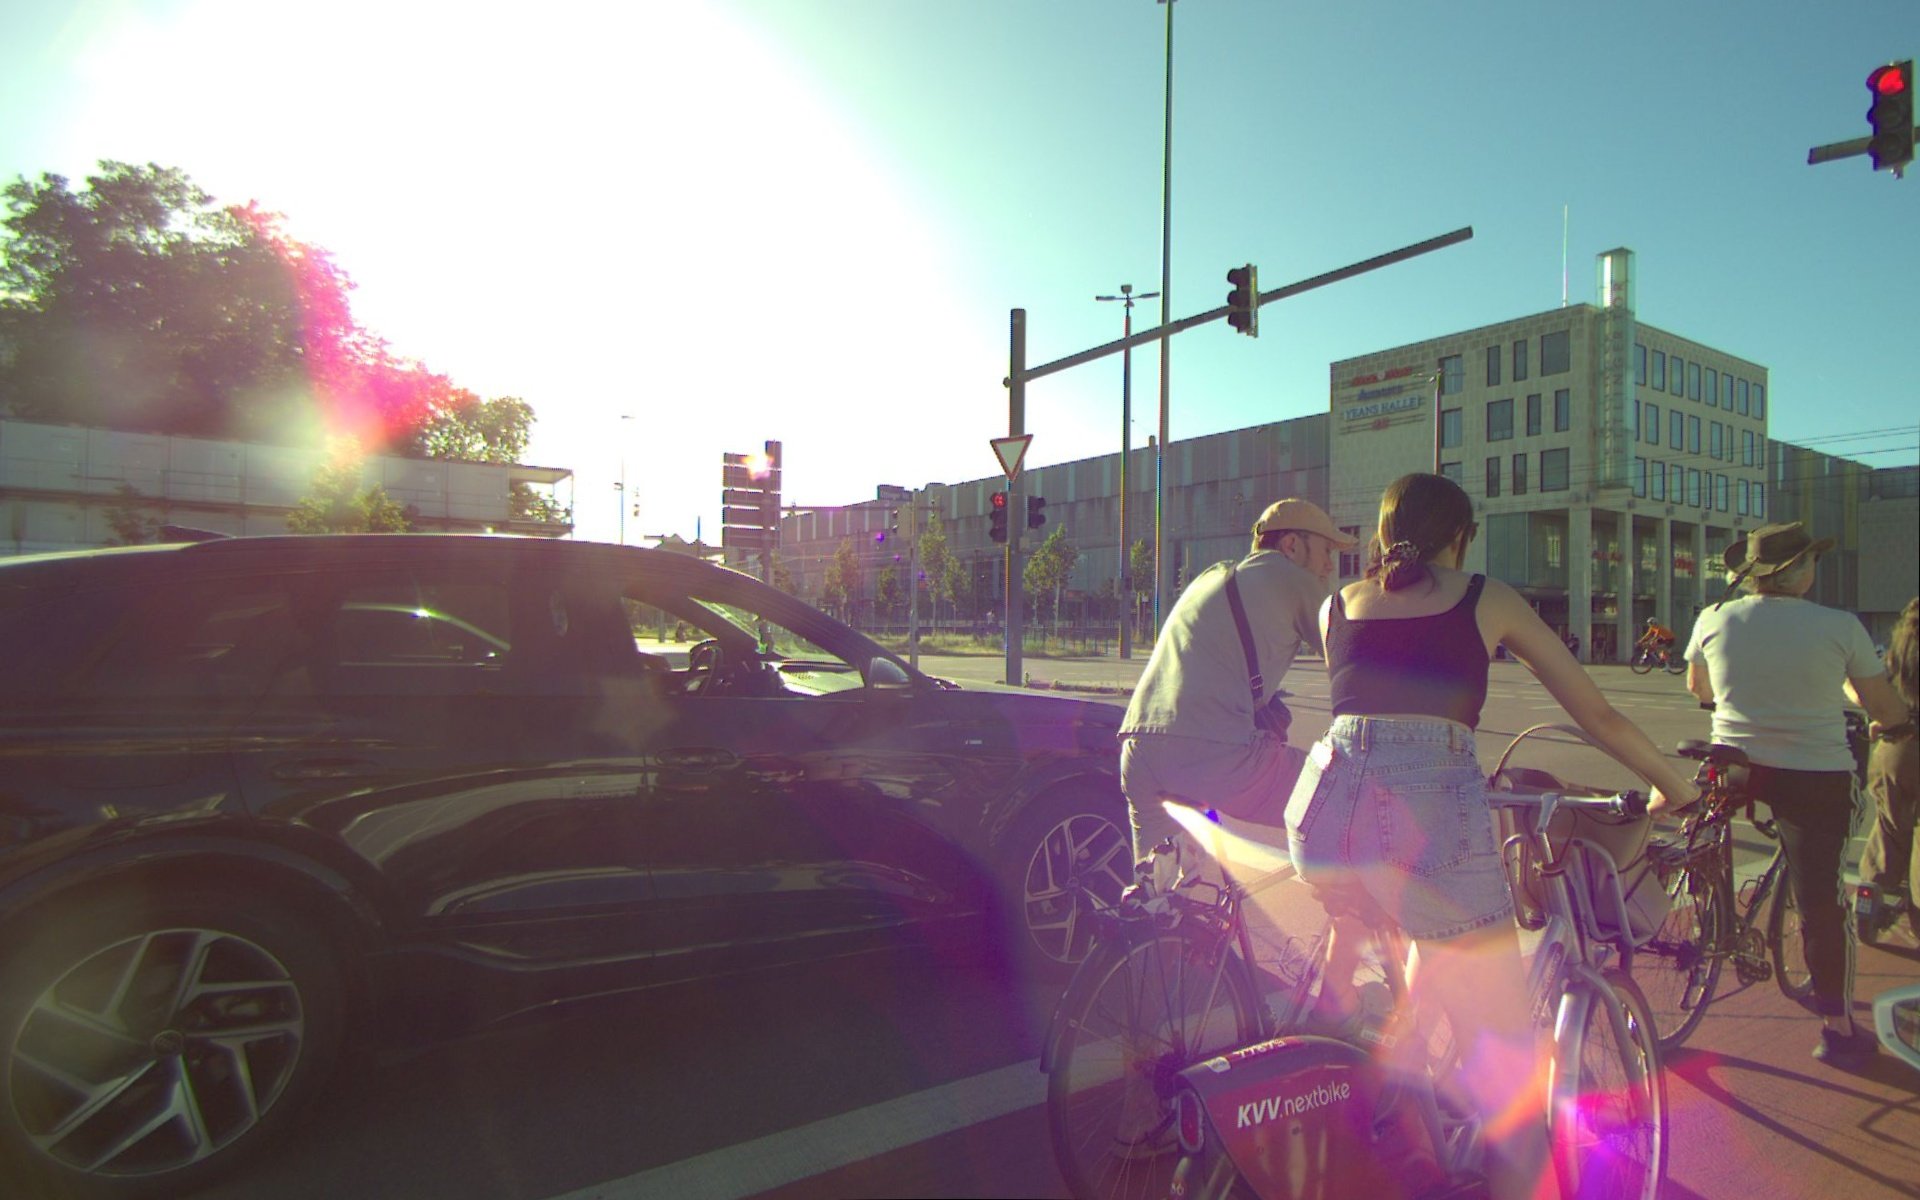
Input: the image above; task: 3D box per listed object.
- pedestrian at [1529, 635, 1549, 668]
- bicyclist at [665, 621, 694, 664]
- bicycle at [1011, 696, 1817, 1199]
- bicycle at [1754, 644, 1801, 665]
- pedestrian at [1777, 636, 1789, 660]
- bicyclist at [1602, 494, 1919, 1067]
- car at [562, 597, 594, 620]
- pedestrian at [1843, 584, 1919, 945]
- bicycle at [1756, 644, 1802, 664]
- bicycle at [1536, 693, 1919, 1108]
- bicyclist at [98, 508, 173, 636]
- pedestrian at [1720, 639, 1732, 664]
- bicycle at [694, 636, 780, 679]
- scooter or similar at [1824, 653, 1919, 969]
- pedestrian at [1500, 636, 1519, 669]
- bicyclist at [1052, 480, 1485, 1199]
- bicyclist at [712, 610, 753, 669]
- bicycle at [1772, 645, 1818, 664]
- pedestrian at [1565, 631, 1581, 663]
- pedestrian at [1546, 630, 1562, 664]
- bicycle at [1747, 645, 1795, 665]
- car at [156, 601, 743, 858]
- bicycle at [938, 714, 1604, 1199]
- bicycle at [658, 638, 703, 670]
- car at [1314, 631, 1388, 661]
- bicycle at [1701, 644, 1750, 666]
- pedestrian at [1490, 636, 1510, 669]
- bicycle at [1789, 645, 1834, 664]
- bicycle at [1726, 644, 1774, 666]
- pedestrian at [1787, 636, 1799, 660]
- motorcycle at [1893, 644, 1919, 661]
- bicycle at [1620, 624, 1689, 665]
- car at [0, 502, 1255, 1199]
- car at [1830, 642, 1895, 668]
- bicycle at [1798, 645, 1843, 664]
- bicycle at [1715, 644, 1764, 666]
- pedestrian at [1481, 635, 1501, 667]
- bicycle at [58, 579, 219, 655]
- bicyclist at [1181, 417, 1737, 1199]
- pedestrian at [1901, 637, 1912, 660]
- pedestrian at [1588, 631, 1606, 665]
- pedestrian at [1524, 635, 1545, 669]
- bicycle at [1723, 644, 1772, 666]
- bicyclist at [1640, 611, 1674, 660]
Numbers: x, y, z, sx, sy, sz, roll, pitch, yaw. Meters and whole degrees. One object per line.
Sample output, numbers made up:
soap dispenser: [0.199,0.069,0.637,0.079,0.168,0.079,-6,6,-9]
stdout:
pedestrian: [34.411,3.044,59.691,0.710,1.910,0.779,2,0,-36]
bicyclist: [-13.737,2.071,49.147,0.985,2.040,1.088,2,0,-40]
bicycle: [1.019,0.872,2.060,1.811,1.234,0.612,1,0,-33]
bicycle: [52.906,3.527,65.020,0.605,1.238,2.295,1,-1,-31]
pedestrian: [60.155,3.483,73.400,0.610,1.702,0.565,1,0,-39]
bicyclist: [2.871,0.558,3.557,0.856,1.743,0.657,2,0,-30]
car: [-32.931,0.737,86.518,1.785,1.908,3.964,2,0,-33]
pedestrian: [4.635,0.764,4.810,0.568,1.654,0.543,2,0,-45]
bicycle: [54.286,3.577,66.568,0.605,1.238,2.295,1,-1,-31]
bicycle: [2.881,0.963,3.683,1.810,1.171,0.482,2,0,-31]
bicyclist: [-20.795,-0.681,25.378,1.292,3.144,0.835,2,0,-32]
pedestrian: [52.548,3.523,68.897,0.643,1.742,0.446,1,-1,-35]
bicycle: [-8.019,2.046,36.144,2.905,1.388,0.970,2,0,16]
scooter or similar: [4.494,0.927,4.718,1.186,1.311,0.541,2,0,-45]
pedestrian: [33.228,3.165,60.692,0.780,1.910,0.709,2,0,-37]
bicyclist: [0.805,0.561,2.678,0.833,1.627,0.712,1,0,-32]
bicyclist: [-8.198,1.405,36.225,1.078,2.040,0.961,2,0,15]
bicycle: [55.524,3.616,66.831,0.605,1.238,2.295,1,-1,-31]
pedestrian: [35.634,2.729,58.426,0.784,1.868,0.862,0,-1,32]
pedestrian: [34.268,2.688,57.956,0.705,1.910,0.785,2,0,33]
bicycle: [51.282,3.471,63.552,0.605,1.238,2.295,1,-1,-31]
car: [-3.583,0.793,7.500,3.562,1.505,1.485,1,0,-30]
bicycle: [0.942,0.955,2.774,1.949,1.124,0.643,1,0,-33]
bicycle: [-13.628,2.601,48.957,0.962,1.388,2.930,2,0,-40]
car: [23.456,2.738,60.367,1.643,1.606,3.871,2,0,-36]
bicycle: [45.767,3.286,60.085,0.605,1.238,2.295,1,-1,-31]
pedestrian: [32.167,3.129,59.870,0.710,1.910,0.779,2,0,-36]
bicycle: [58.857,3.729,69.429,0.605,1.238,2.295,1,-1,-31]
bicycle: [48.701,3.385,61.961,0.605,1.238,2.295,1,-1,-31]
pedestrian: [60.569,3.481,73.032,0.602,1.702,0.549,1,0,-40]
motorcycle: [70.744,3.901,74.856,0.508,1.223,1.786,1,0,-44]
bicycle: [20.984,1.334,30.396,1.618,1.170,0.497,2,0,23]
car: [-1.152,0.634,3.874,4.630,1.656,1.760,1,0,-32]
car: [49.788,3.060,55.411,3.956,1.359,1.621,2,-4,-32]
bicycle: [59.829,3.761,69.854,0.605,1.238,2.295,1,-1,-31]
bicycle: [46.969,3.325,60.529,0.605,1.238,2.295,1,-1,-31]
pedestrian: [32.475,3.113,61.441,0.710,1.910,0.779,2,0,-36]
bicycle: [-20.721,0.415,25.439,3.047,1.835,0.835,0,1,-32]
bicyclist: [1.004,0.524,2.047,0.866,1.600,0.638,1,0,-33]
pedestrian: [71.103,3.664,75.456,0.579,1.702,0.516,1,1,-43]
pedestrian: [35.877,2.693,56.585,0.784,1.868,0.863,0,-1,28]
pedestrian: [33.401,3.007,58.379,0.710,1.910,0.779,2,0,-36]
bicycle: [48.051,3.362,61.340,0.605,1.238,2.295,1,-1,-31]
bicyclist: [21.059,1.068,30.362,0.700,1.456,0.497,2,0,23]
